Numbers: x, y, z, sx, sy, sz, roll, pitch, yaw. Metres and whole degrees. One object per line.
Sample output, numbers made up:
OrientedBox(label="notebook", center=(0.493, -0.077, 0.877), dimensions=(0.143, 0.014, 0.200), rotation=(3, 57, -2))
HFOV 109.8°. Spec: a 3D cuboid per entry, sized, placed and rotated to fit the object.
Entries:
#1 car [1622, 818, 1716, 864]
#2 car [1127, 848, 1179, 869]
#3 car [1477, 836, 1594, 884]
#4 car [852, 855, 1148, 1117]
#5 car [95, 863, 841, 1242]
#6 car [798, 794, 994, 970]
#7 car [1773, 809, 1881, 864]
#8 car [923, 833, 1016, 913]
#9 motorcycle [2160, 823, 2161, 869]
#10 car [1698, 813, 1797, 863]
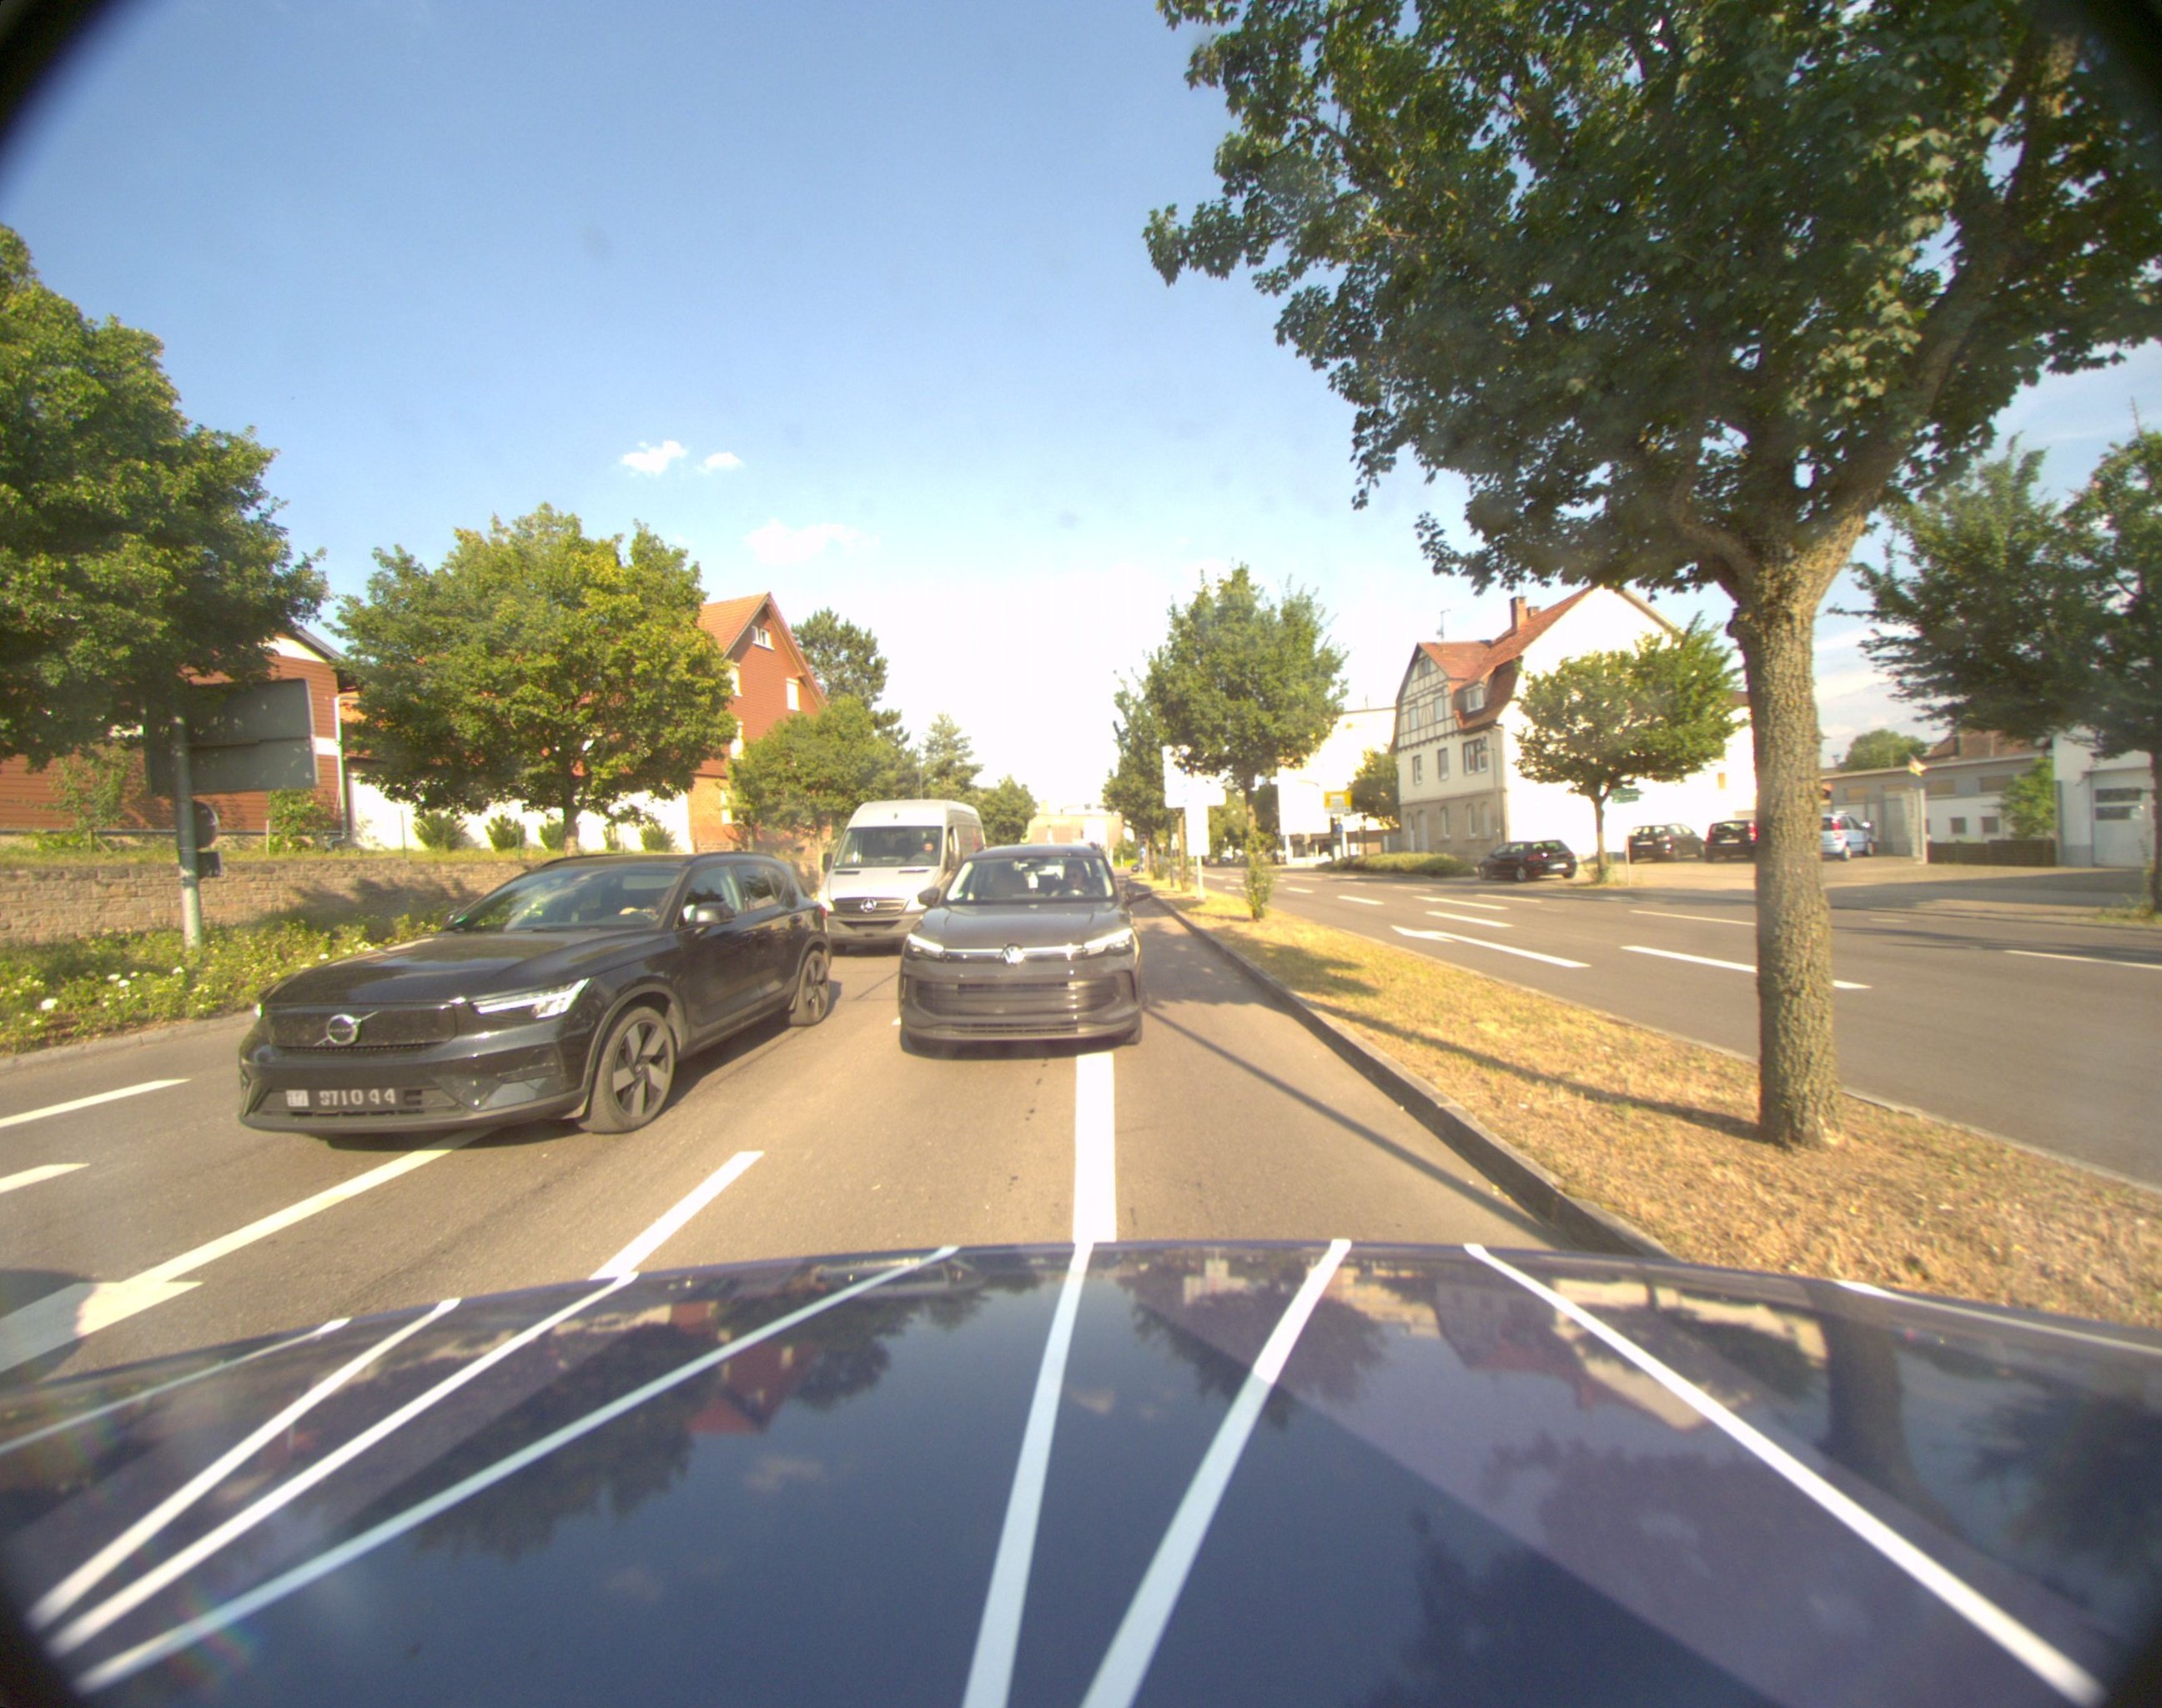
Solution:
OrientedBox(label="car", center=(23.392, -0.513, 30.201), dimensions=(3.830, 1.493, 1.816), rotation=(-5, 1, -35))
OrientedBox(label="car", center=(6.236, 0.413, 65.578), dimensions=(4.002, 1.622, 1.858), rotation=(-2, 1, -17))
OrientedBox(label="car", center=(16.045, 0.170, 27.072), dimensions=(1.818, 1.443, 3.825), rotation=(-5, 0, 1))
OrientedBox(label="car", center=(-0.451, 0.837, 6.929), dimensions=(1.845, 1.600, 4.318), rotation=(-1, 1, 2))
OrientedBox(label="car", center=(-3.424, 0.922, 5.555), dimensions=(1.845, 1.600, 4.318), rotation=(-1, 1, 2))
OrientedBox(label="car", center=(-3.063, 0.388, 14.176), dimensions=(1.992, 2.554, 6.046), rotation=(-1, 1, 2))
OrientedBox(label="car", center=(24.891, -0.606, 25.338), dimensions=(3.830, 1.493, 1.816), rotation=(-5, 1, -35))
OrientedBox(label="car", center=(-3.005, 0.468, 21.415), dimensions=(1.845, 2.018, 4.318), rotation=(-1, 1, 2))
OrientedBox(label="motorcycle", center=(27.696, -0.202, 18.308), dimensions=(0.585, 1.178, 1.975), rotation=(-3, 1, 0))
OrientedBox(label="car", center=(24.670, -0.603, 28.104), dimensions=(3.830, 1.493, 1.816), rotation=(-5, 1, -35))
